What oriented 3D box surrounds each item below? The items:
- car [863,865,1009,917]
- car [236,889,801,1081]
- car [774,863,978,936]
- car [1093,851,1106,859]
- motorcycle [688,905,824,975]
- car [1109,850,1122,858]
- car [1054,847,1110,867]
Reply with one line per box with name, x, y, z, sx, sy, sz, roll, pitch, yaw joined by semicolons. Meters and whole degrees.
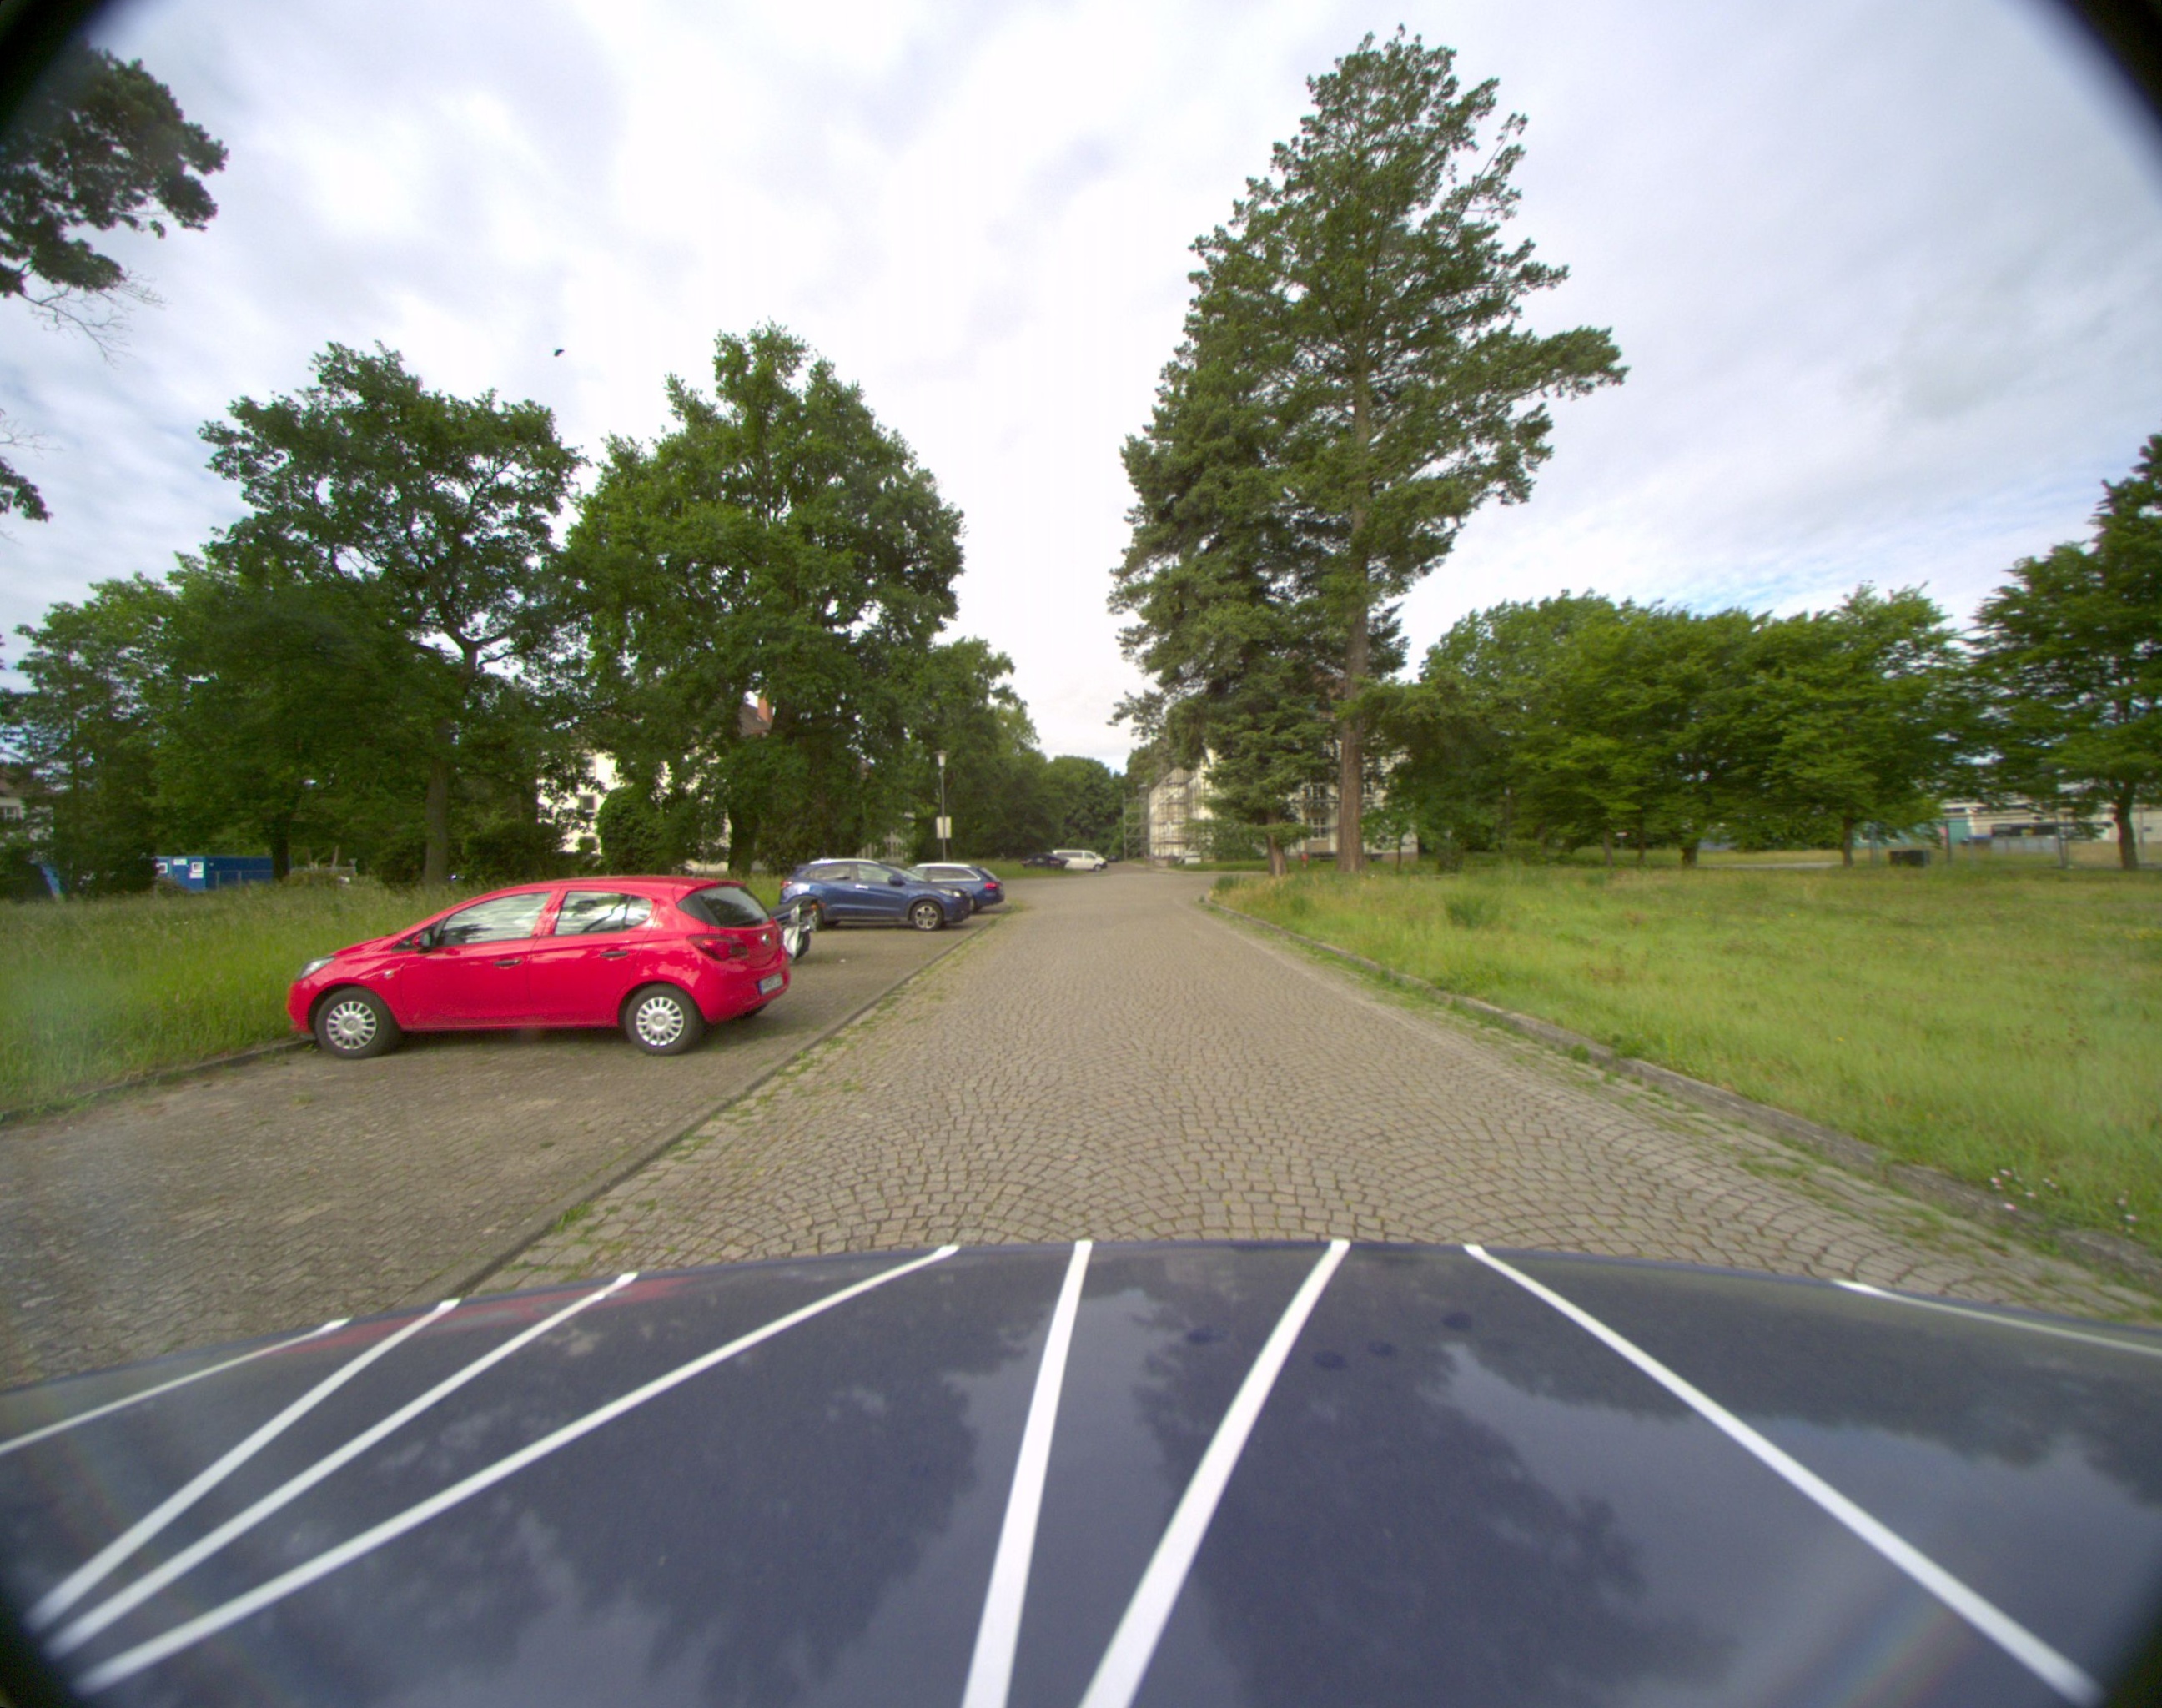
car;-4.087;1.030;21.773;3.878;1.417;1.582;0;1;-1
car;-4.786;1.083;6.878;3.894;1.451;1.582;0;1;-1
car;-4.500;0.983;17.117;4.150;1.529;1.582;0;1;-1
car;3.354;0.171;136.911;1.870;1.408;4.694;0;0;-3
motorcycle;-4.805;1.263;11.312;1.745;0.951;0.614;0;1;-5
car;6.246;0.053;137.422;1.870;1.408;4.694;0;0;-3
car;0.088;0.284;70.524;5.141;1.860;1.723;0;1;-1
